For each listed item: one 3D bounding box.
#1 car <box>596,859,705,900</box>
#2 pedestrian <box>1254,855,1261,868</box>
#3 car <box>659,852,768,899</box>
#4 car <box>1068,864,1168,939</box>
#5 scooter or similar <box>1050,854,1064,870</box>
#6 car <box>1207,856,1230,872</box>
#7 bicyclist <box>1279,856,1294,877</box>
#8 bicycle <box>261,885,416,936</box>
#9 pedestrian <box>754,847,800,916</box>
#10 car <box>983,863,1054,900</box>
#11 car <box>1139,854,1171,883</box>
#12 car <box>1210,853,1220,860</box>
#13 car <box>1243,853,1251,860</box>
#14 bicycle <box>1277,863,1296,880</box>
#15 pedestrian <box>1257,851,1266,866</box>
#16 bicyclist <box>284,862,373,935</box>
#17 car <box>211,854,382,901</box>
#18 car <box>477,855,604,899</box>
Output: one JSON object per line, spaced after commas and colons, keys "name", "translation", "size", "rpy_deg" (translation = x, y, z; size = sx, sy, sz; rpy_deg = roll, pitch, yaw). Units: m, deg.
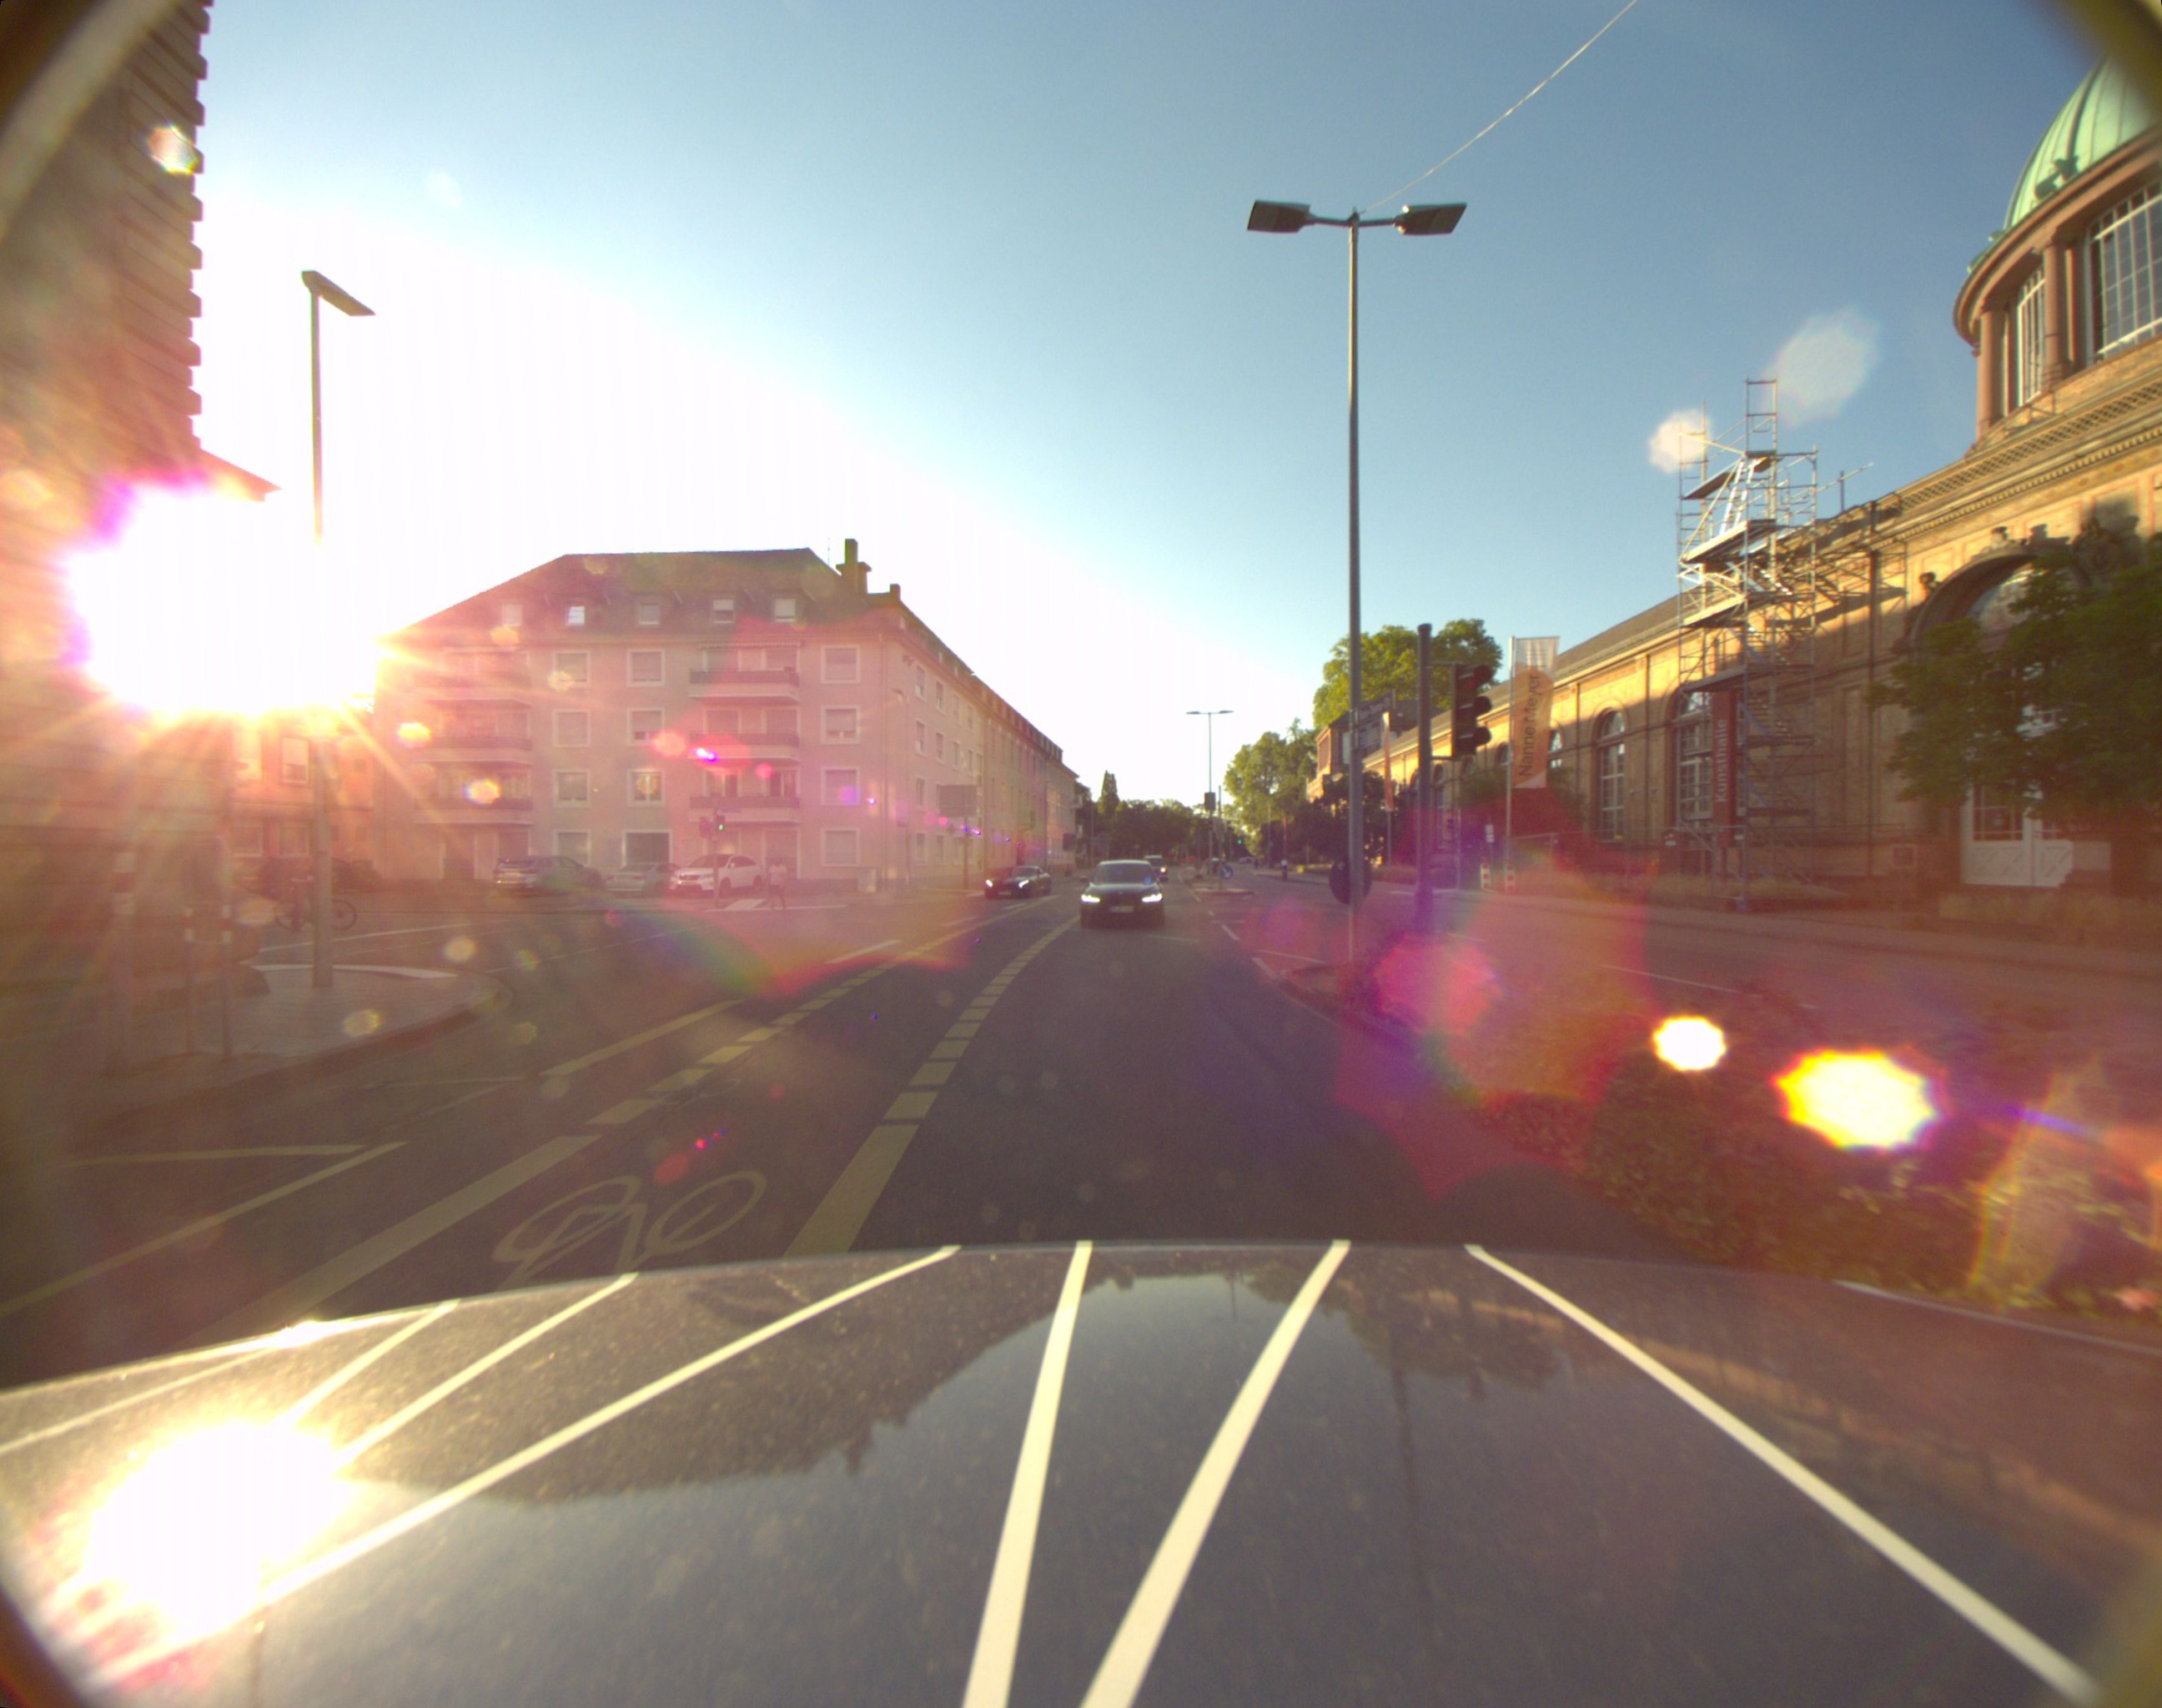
{"name": "car", "translation": [-17.175, 0.960, 30.560], "size": [1.924, 1.504, 4.029], "rpy_deg": [0, 0, 3]}
{"name": "pedestrian", "translation": [21.379, 0.878, 91.873], "size": [0.675, 1.504, 0.837], "rpy_deg": [-4, -2, 14]}
{"name": "car", "translation": [-14.578, 0.792, 30.439], "size": [1.998, 1.739, 4.476], "rpy_deg": [0, 0, 3]}
{"name": "car", "translation": [0.994, 0.976, 17.458], "size": [1.963, 1.378, 4.783], "rpy_deg": [-1, 0, 6]}
{"name": "scooter or similar", "translation": [-2.257, 0.706, 71.025], "size": [0.726, 1.450, 1.674], "rpy_deg": [2, 1, 17]}
{"name": "car", "translation": [12.765, 0.896, 70.518], "size": [1.827, 1.499, 4.429], "rpy_deg": [0, 0, 7]}
{"name": "bicyclist", "translation": [14.454, 0.880, 53.456], "size": [0.749, 1.452, 0.937], "rpy_deg": [1, 0, 0]}
{"name": "bicycle", "translation": [-16.976, 1.281, 17.426], "size": [2.582, 1.098, 0.977], "rpy_deg": [0, 0, 0]}
{"name": "pedestrian", "translation": [-9.060, 0.810, 22.702], "size": [0.785, 2.002, 0.996], "rpy_deg": [0, 0, 21]}
{"name": "car", "translation": [-2.504, 1.093, 31.488], "size": [2.183, 1.293, 4.359], "rpy_deg": [-2, 0, 5]}
{"name": "car", "translation": [4.715, 0.902, 48.919], "size": [1.838, 1.674, 4.224], "rpy_deg": [-2, 0, 3]}
{"name": "car", "translation": [27.091, 0.509, 153.222], "size": [1.774, 1.455, 4.004], "rpy_deg": [1, 0, 11]}
{"name": "car", "translation": [41.042, 0.689, 187.597], "size": [1.918, 1.674, 4.004], "rpy_deg": [0, 0, 14]}
{"name": "bicycle", "translation": [14.452, 1.226, 53.473], "size": [0.755, 1.084, 1.932], "rpy_deg": [2, 0, 0]}
{"name": "pedestrian", "translation": [21.887, 0.551, 91.942], "size": [0.806, 1.728, 0.851], "rpy_deg": [0, 0, 31]}
{"name": "bicyclist", "translation": [-17.230, 0.994, 17.415], "size": [1.045, 1.623, 0.969], "rpy_deg": [0, 0, 1]}
{"name": "car", "translation": [-31.515, 0.881, 30.764], "size": [2.010, 1.587, 4.521], "rpy_deg": [0, 2, 3]}
{"name": "car", "translation": [-21.592, 0.876, 30.584], "size": [2.010, 1.538, 4.055], "rpy_deg": [0, 2, 3]}
